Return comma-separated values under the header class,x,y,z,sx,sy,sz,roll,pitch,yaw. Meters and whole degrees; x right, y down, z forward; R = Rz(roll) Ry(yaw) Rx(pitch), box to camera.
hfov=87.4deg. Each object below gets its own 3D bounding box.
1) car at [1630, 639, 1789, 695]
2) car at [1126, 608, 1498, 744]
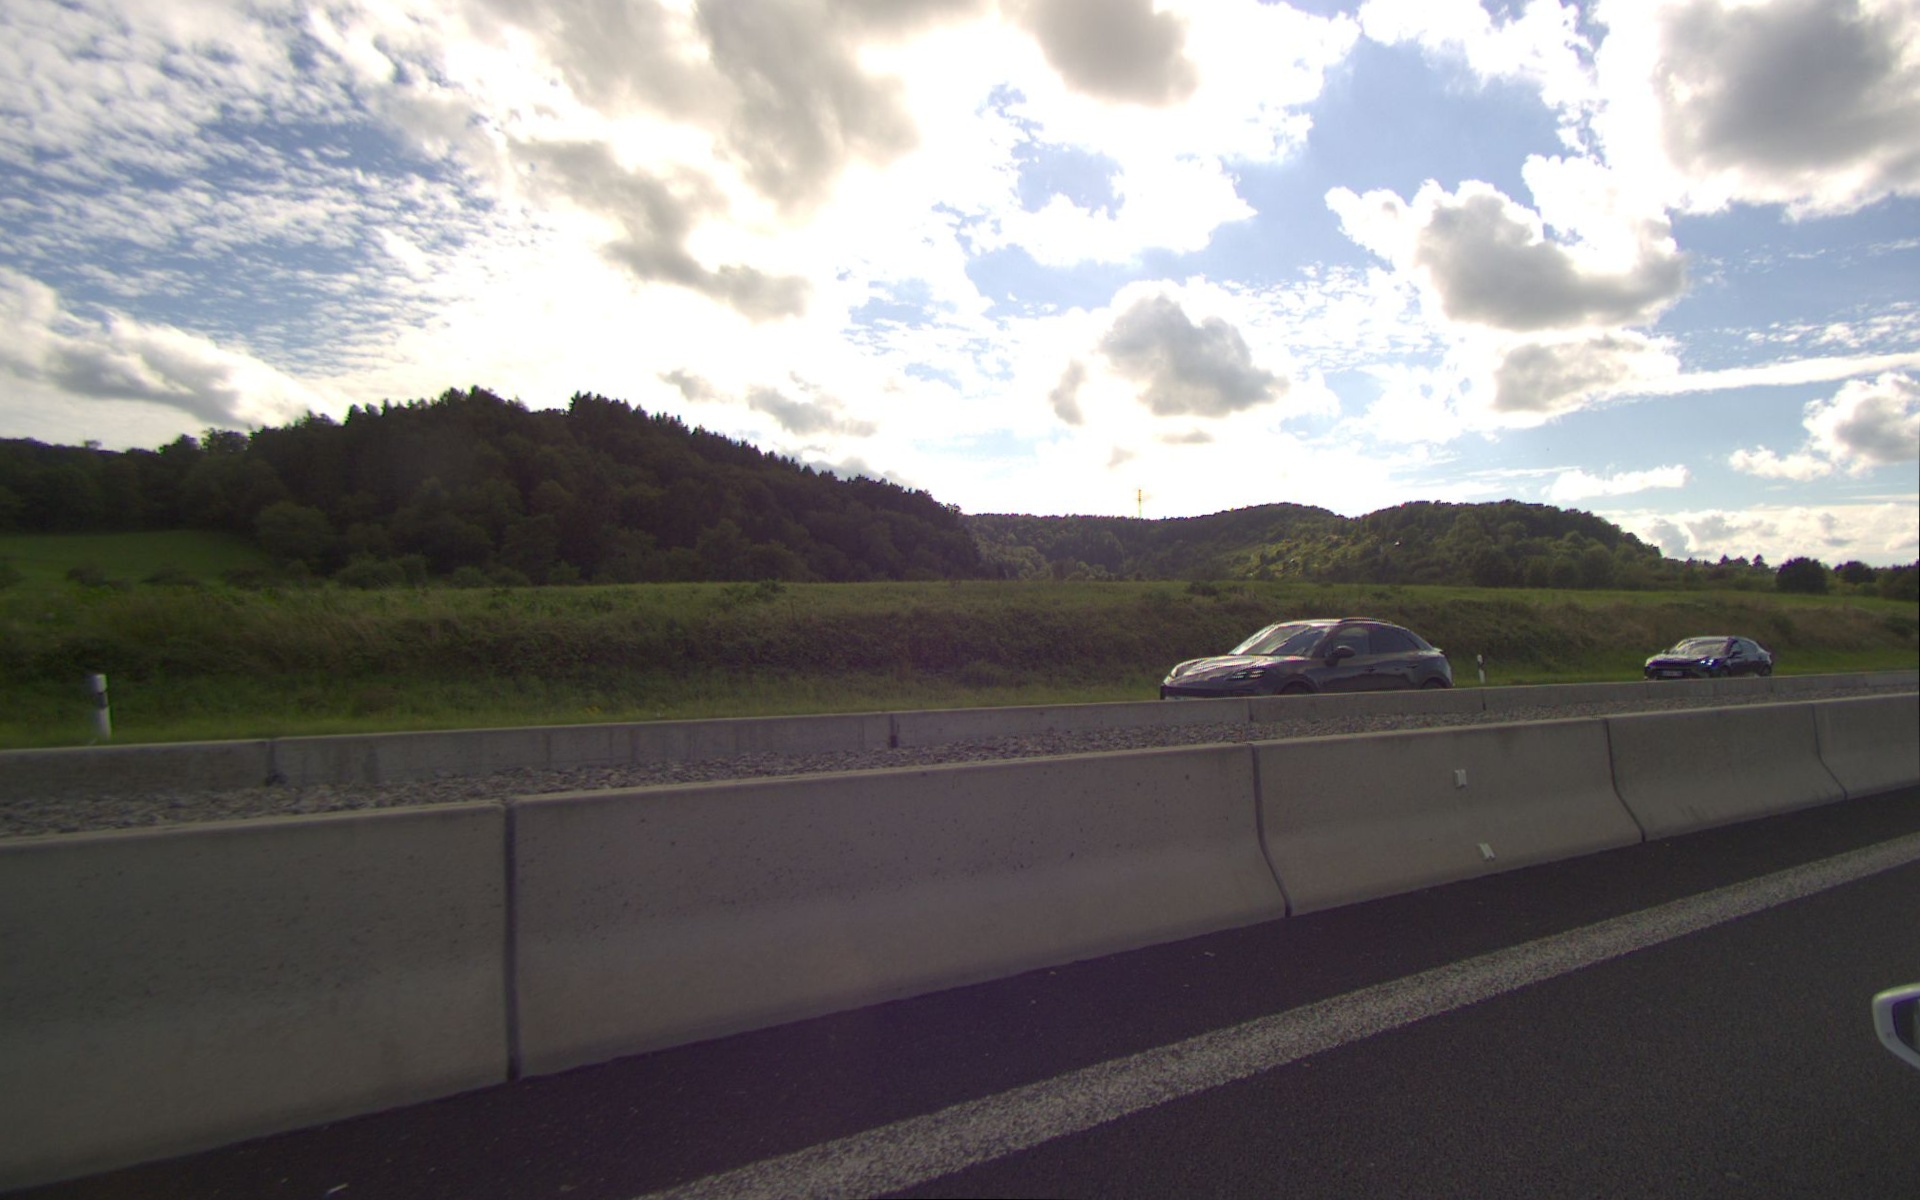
class,x,y,z,sx,sy,sz,roll,pitch,yaw
car,21.348,1.861,28.572,4.637,1.498,1.984,1,-3,-30
car,5.017,0.992,14.059,5.302,1.593,1.984,1,-3,-31
